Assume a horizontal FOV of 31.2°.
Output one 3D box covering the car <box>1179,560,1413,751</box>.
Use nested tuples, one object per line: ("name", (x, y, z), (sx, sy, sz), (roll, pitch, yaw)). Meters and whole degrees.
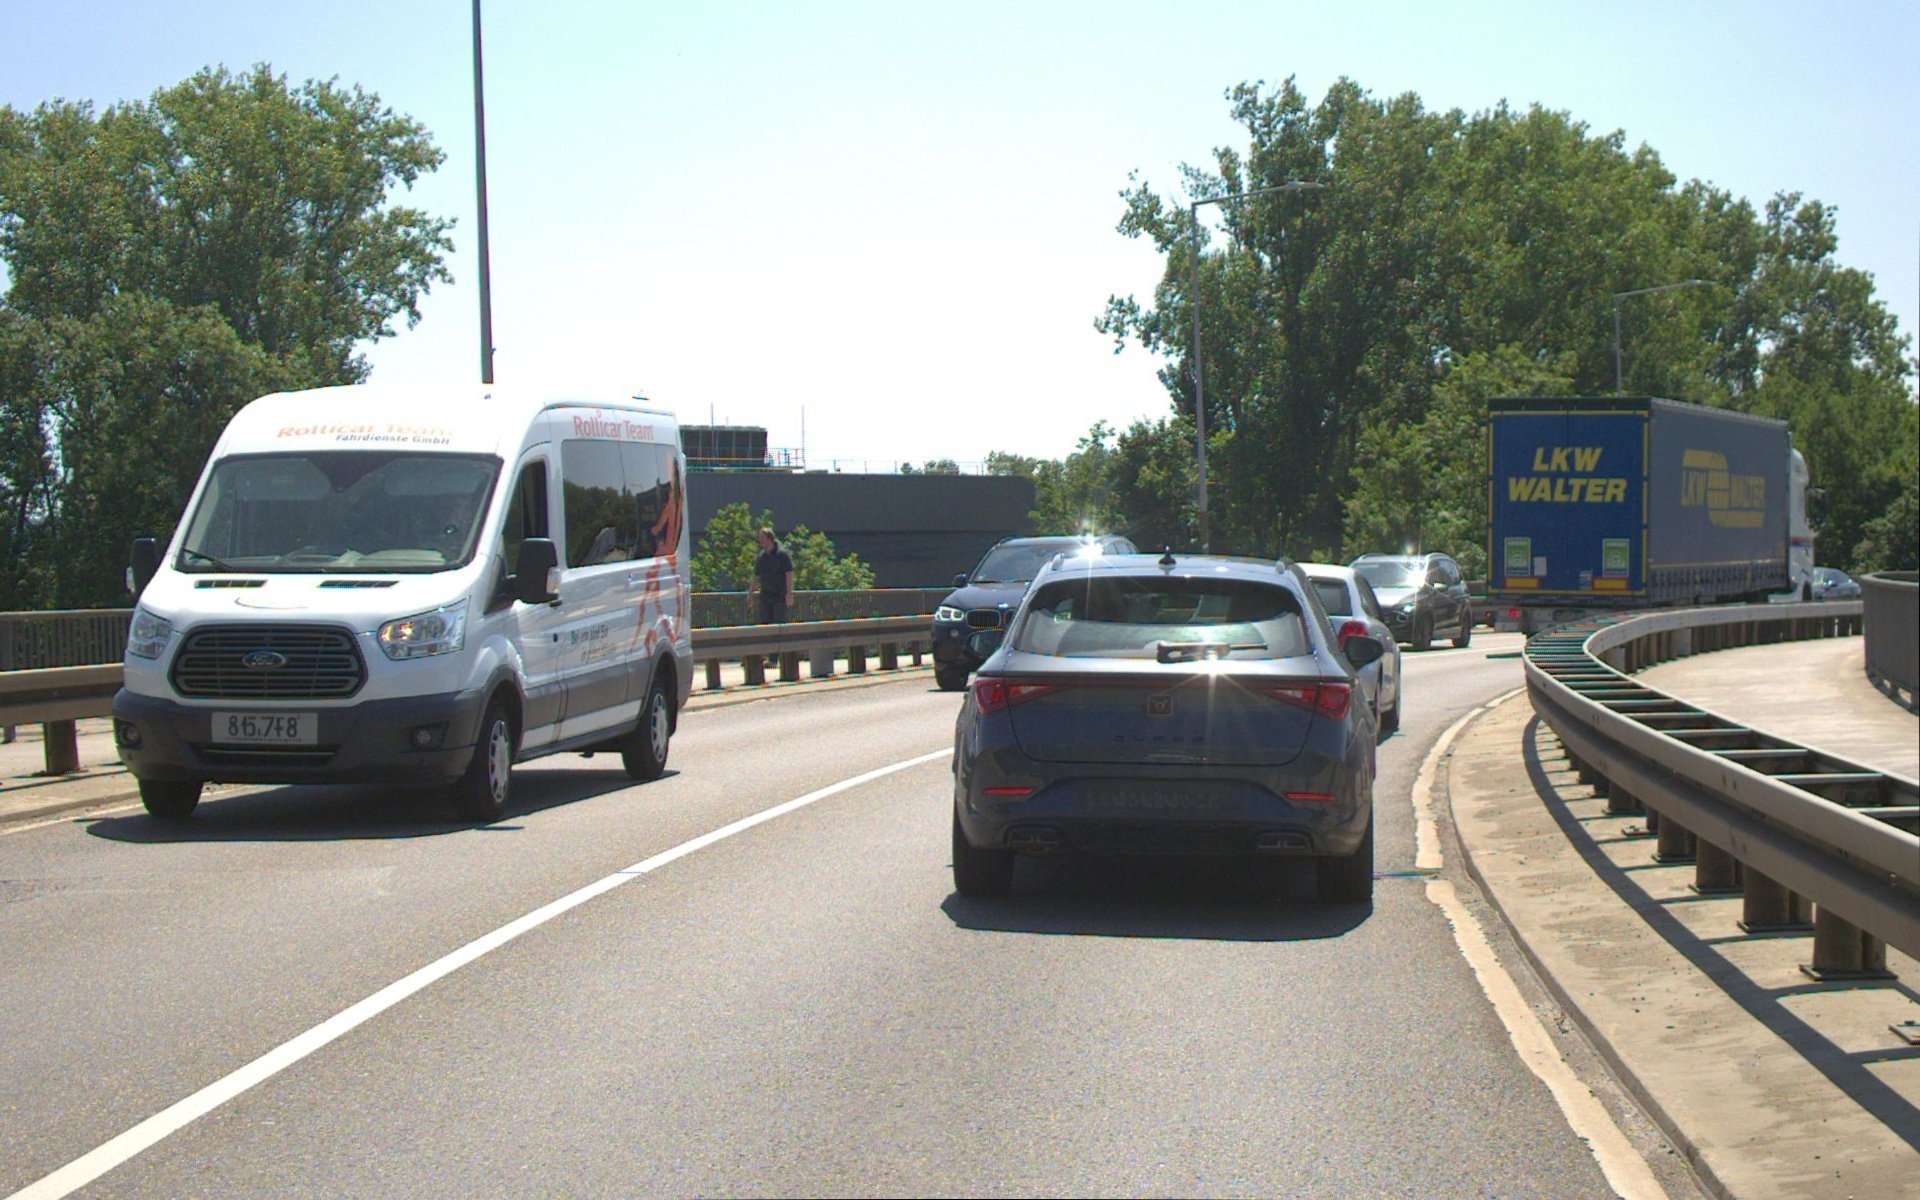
("car", (2.872, 0.424, 28.796), (1.594, 1.456, 3.543), (2, 1, 11))

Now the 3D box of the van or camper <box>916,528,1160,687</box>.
("van or camper", (0.986, 0.085, 40.342), (1.994, 1.755, 4.695), (0, 0, 12))

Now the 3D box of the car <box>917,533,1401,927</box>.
("car", (0.917, 0.465, 15.124), (1.846, 1.493, 3.757), (1, 1, 5))

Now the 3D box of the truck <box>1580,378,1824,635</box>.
("truck", (14.177, -1.680, 65.255), (3.174, 4.569, 7.388), (1, 0, 22))

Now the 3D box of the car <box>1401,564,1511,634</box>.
("car", (10.489, -0.012, 72.570), (1.790, 1.414, 3.770), (-1, 0, 16))

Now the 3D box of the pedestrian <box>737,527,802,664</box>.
("pedestrian", (-2.497, -0.059, 45.118), (0.638, 1.776, 0.811), (1, 0, 12))

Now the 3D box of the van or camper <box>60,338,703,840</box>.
("van or camper", (-3.168, -0.131, 20.387), (2.049, 2.529, 5.882), (0, 1, 8))

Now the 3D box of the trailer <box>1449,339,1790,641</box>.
("trailer", (11.554, -1.719, 58.851), (3.138, 4.598, 12.933), (2, 1, 22))
